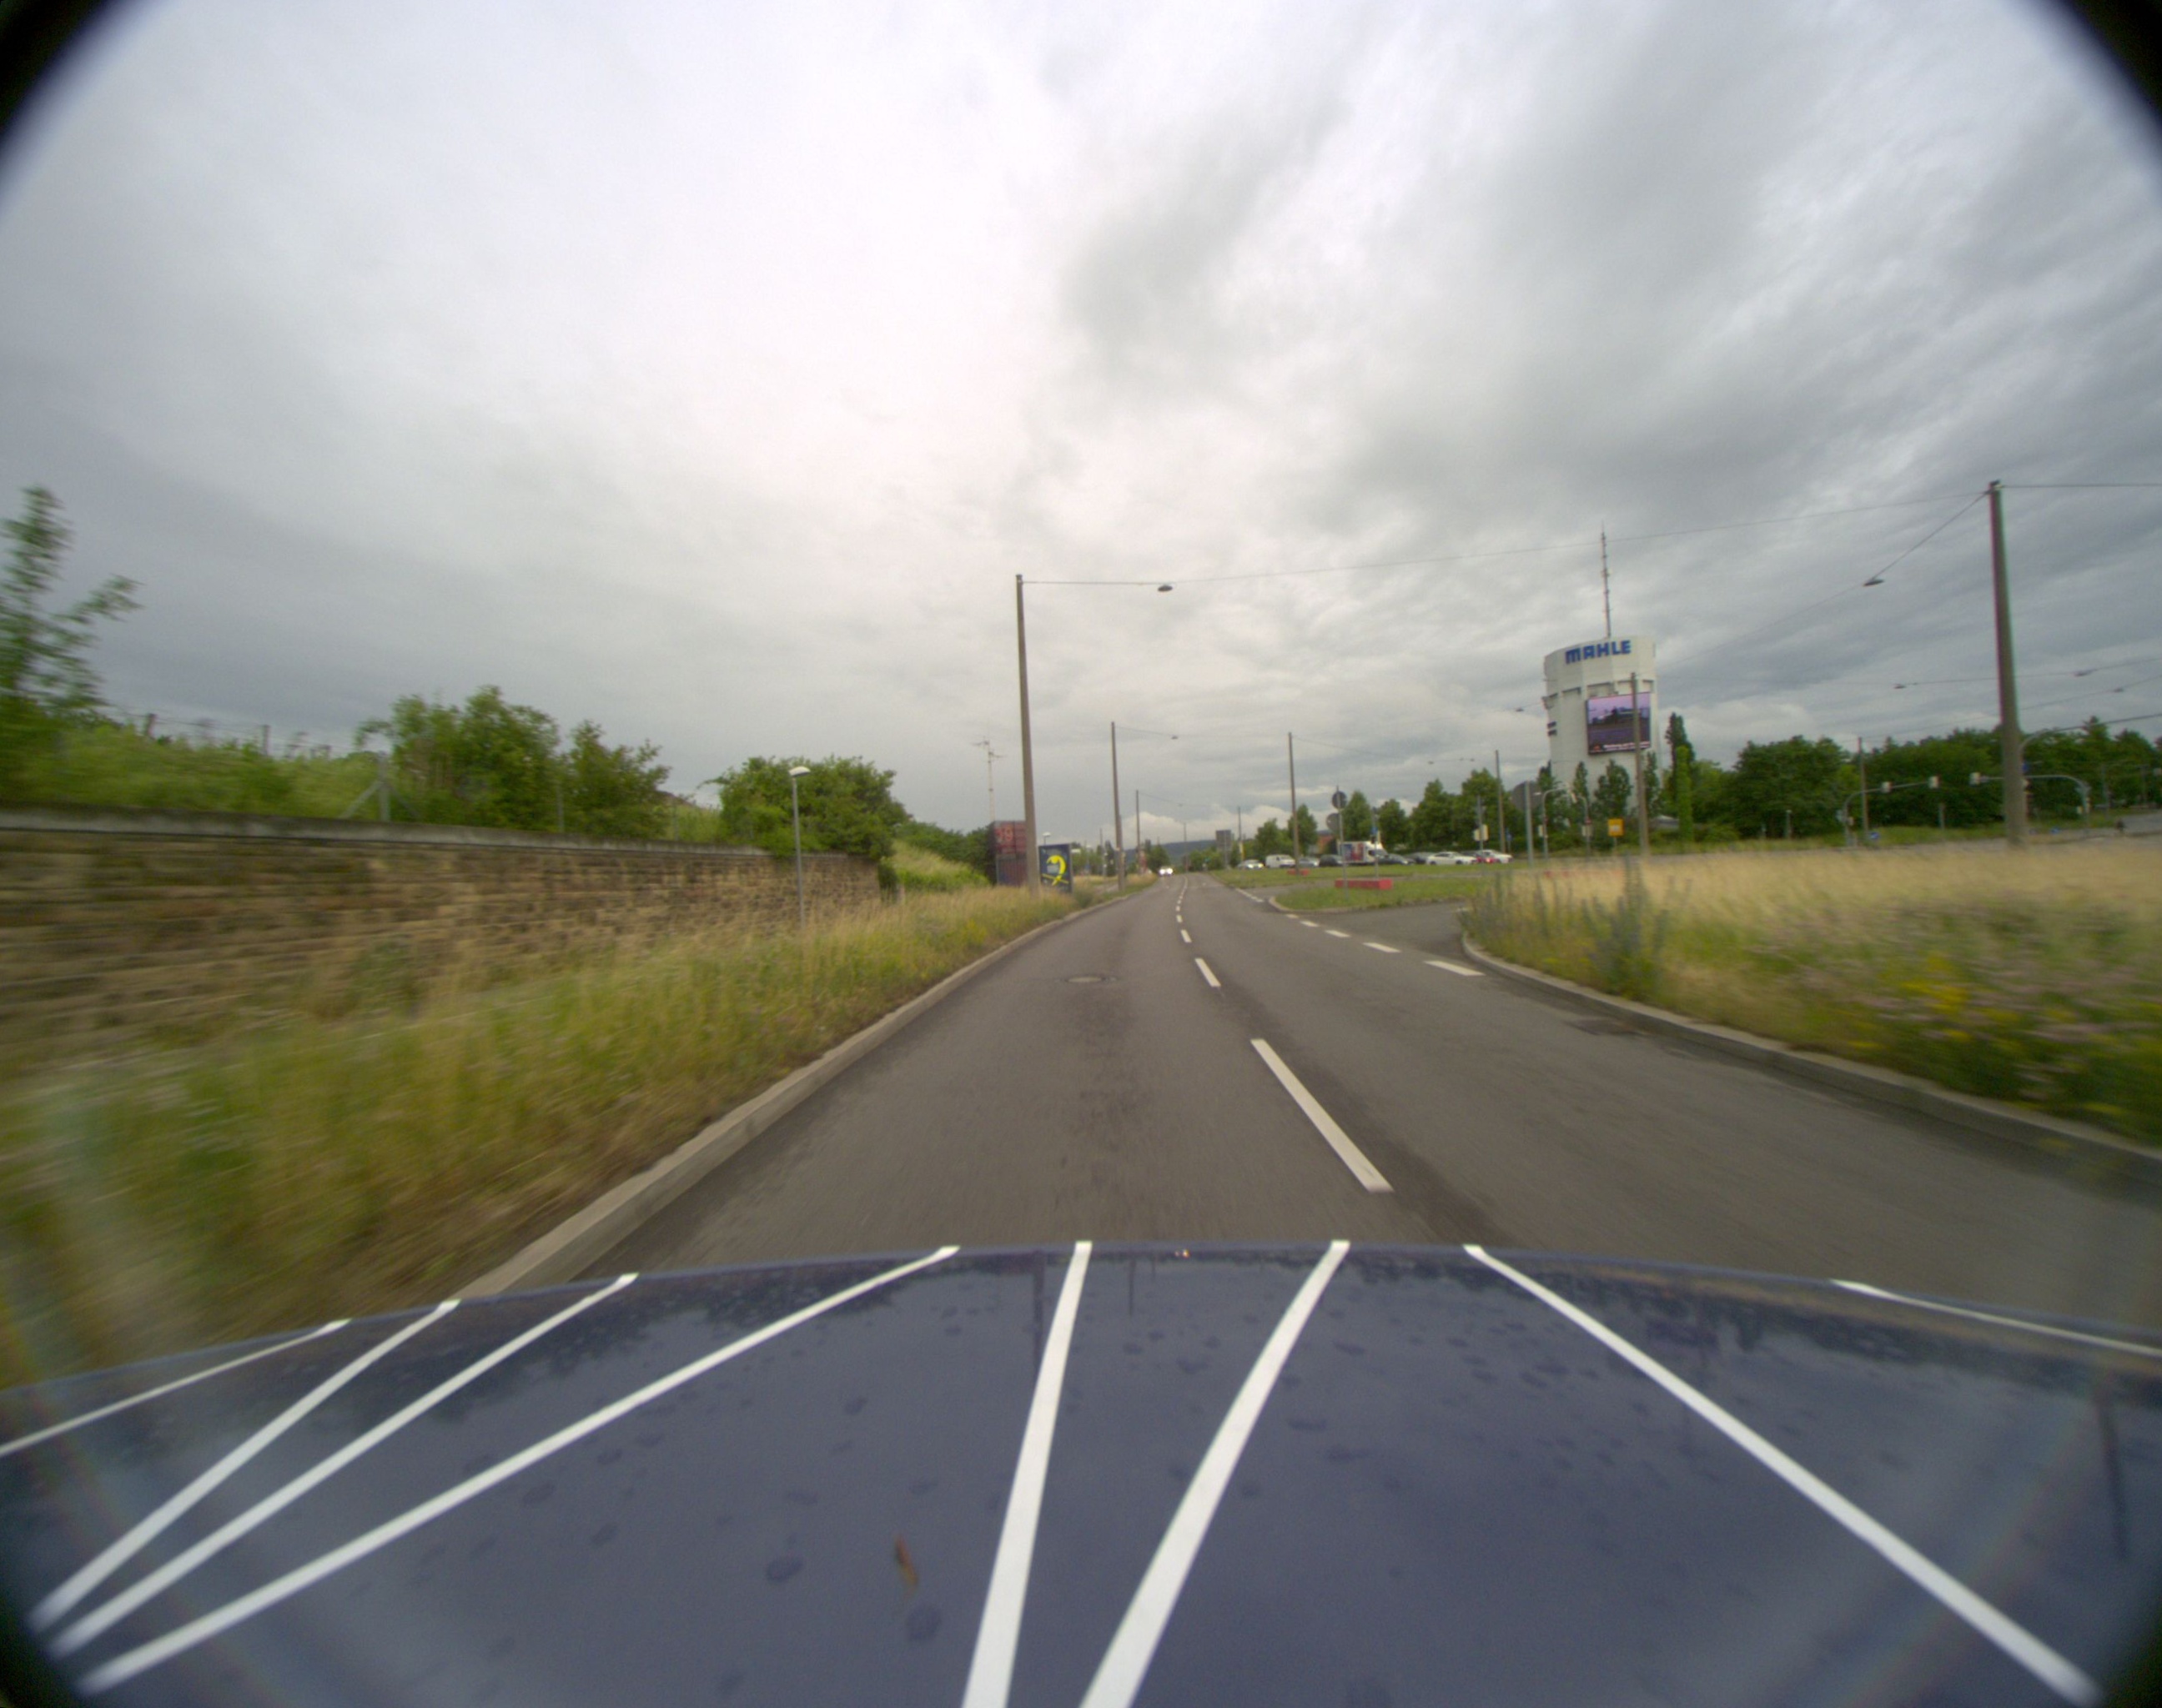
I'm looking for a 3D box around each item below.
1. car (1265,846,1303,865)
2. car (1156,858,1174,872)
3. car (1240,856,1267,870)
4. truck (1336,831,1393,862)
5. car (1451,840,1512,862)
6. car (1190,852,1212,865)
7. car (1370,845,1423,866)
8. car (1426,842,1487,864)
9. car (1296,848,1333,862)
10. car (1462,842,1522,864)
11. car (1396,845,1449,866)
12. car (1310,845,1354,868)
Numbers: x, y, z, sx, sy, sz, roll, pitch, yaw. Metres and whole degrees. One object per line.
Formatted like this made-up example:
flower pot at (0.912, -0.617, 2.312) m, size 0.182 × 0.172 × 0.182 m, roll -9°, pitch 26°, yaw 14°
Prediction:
car at (26.368, 0.238, 98.893) m, size 2.375 × 2.168 × 5.304 m, roll -5°, pitch -1°, yaw -12°
car at (12.775, 1.717, 115.778) m, size 1.999 × 2.001 × 3.999 m, roll -6°, pitch -1°, yaw -3°
car at (24.466, 1.272, 108.145) m, size 1.999 × 1.790 × 5.168 m, roll -6°, pitch -1°, yaw -7°
truck at (30.956, -0.748, 83.216) m, size 2.132 × 2.817 × 6.022 m, roll -5°, pitch -1°, yaw -23°
car at (37.212, -0.254, 70.778) m, size 2.003 × 1.672 × 4.512 m, roll -5°, pitch -1°, yaw -32°
car at (19.282, 0.787, 122.021) m, size 1.999 × 1.790 × 5.168 m, roll -6°, pitch -1°, yaw -7°
car at (30.672, 0.185, 73.988) m, size 2.002 × 1.672 × 4.514 m, roll -5°, pitch -1°, yaw -22°
car at (33.939, -0.068, 68.767) m, size 2.002 × 1.672 × 4.512 m, roll -5°, pitch 0°, yaw -28°
car at (28.146, 0.166, 91.761) m, size 2.001 × 1.302 × 4.526 m, roll -5°, pitch -1°, yaw -15°
car at (39.368, -0.111, 72.853) m, size 2.003 × 1.672 × 4.512 m, roll -5°, pitch -1°, yaw -31°
car at (34.131, 0.150, 76.012) m, size 2.002 × 1.672 × 4.514 m, roll -5°, pitch -1°, yaw -25°
car at (27.071, 0.277, 82.058) m, size 2.000 × 2.168 × 5.166 m, roll -6°, pitch -1°, yaw -12°
